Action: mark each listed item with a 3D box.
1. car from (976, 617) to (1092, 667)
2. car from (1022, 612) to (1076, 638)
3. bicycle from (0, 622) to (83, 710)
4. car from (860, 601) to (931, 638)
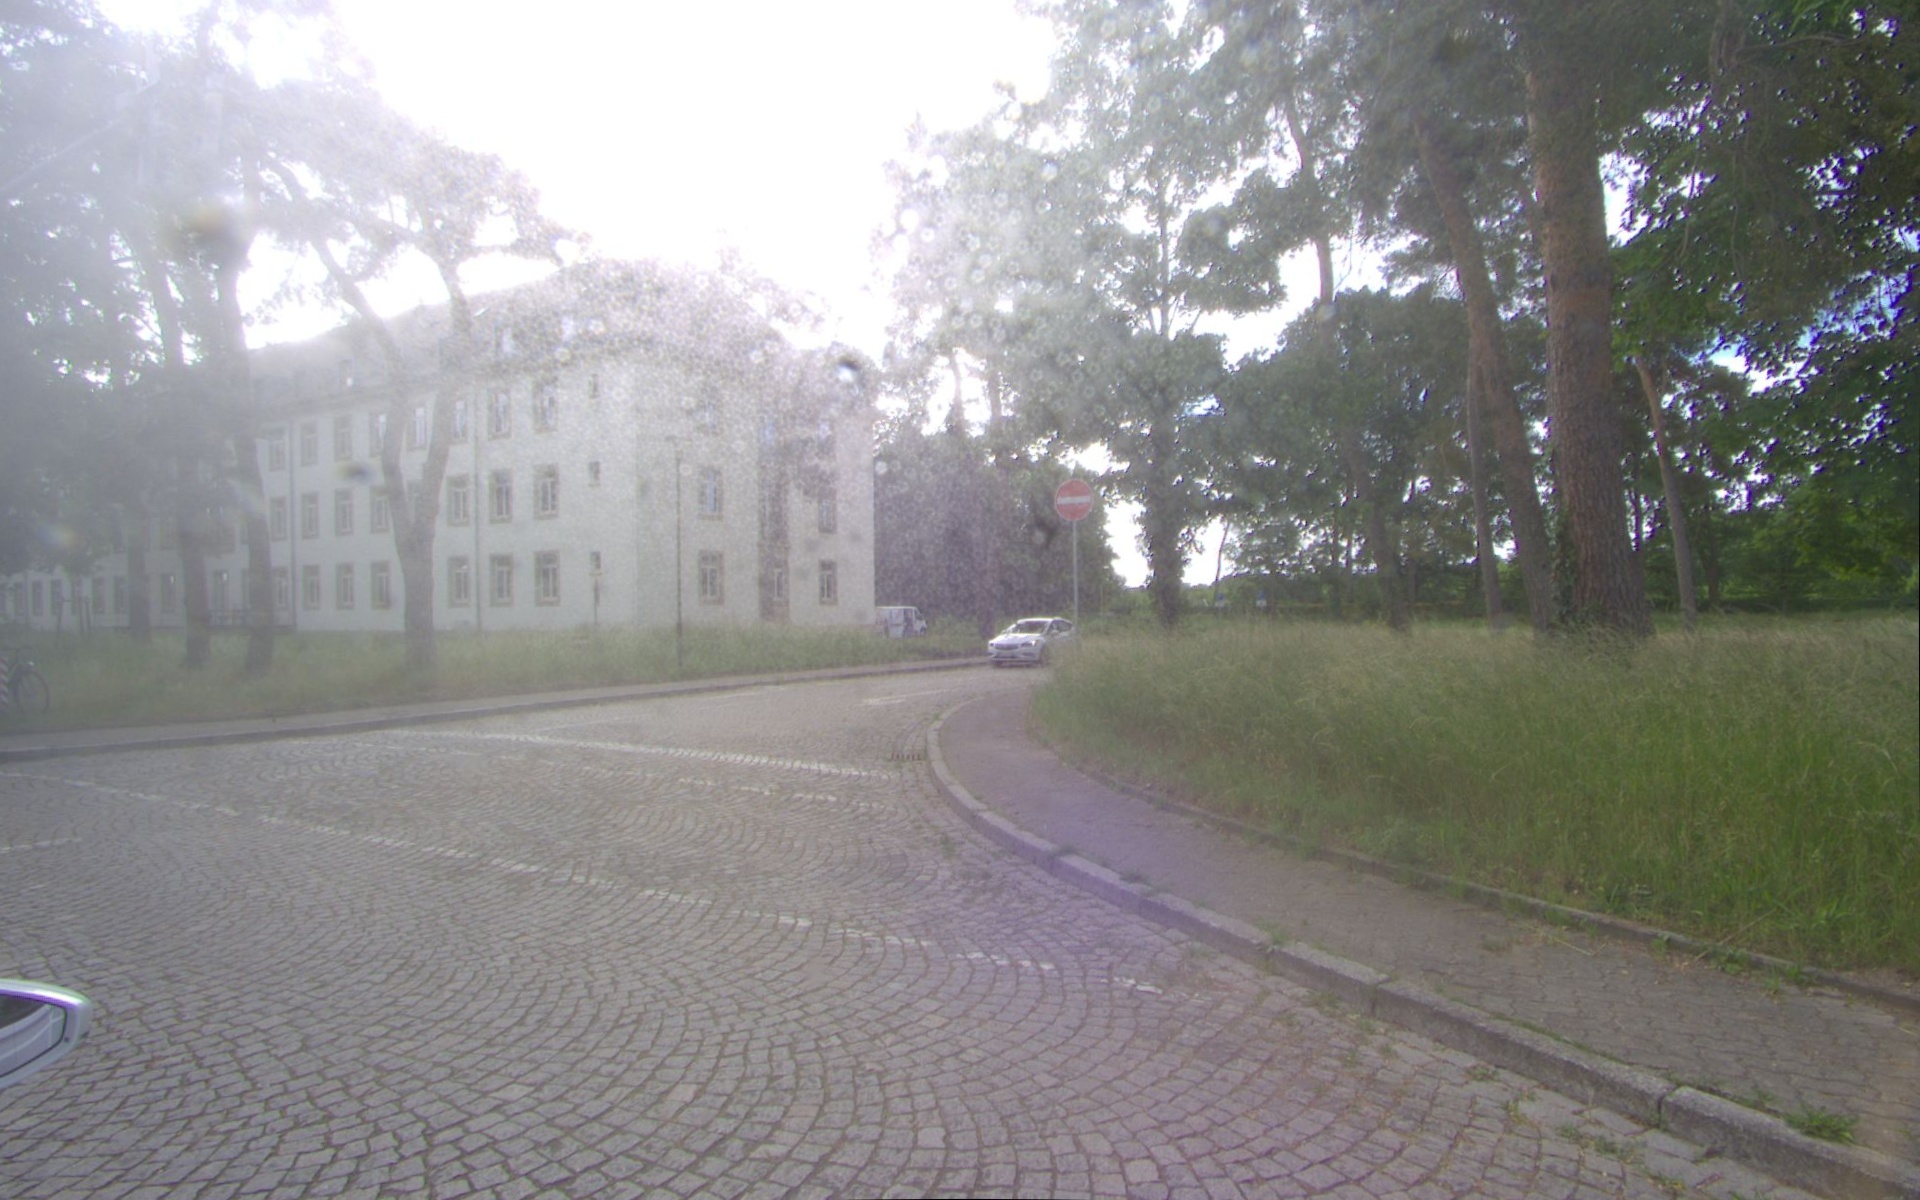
[{"bbox_3d":[2.401,1.289,31.488,1.862,1.434,4.235,-3,-2,32],"label":"car"},{"bbox_3d":[5.447,1.512,60.849,1.970,1.527,3.477,-1,-1,30],"label":"car"},{"bbox_3d":[-13.723,0.920,14.549,1.845,1.192,0.908,-1,0,29],"label":"bicycle"},{"bbox_3d":[-4.158,1.252,65.444,2.180,2.318,5.173,0,-1,30],"label":"car"}]
